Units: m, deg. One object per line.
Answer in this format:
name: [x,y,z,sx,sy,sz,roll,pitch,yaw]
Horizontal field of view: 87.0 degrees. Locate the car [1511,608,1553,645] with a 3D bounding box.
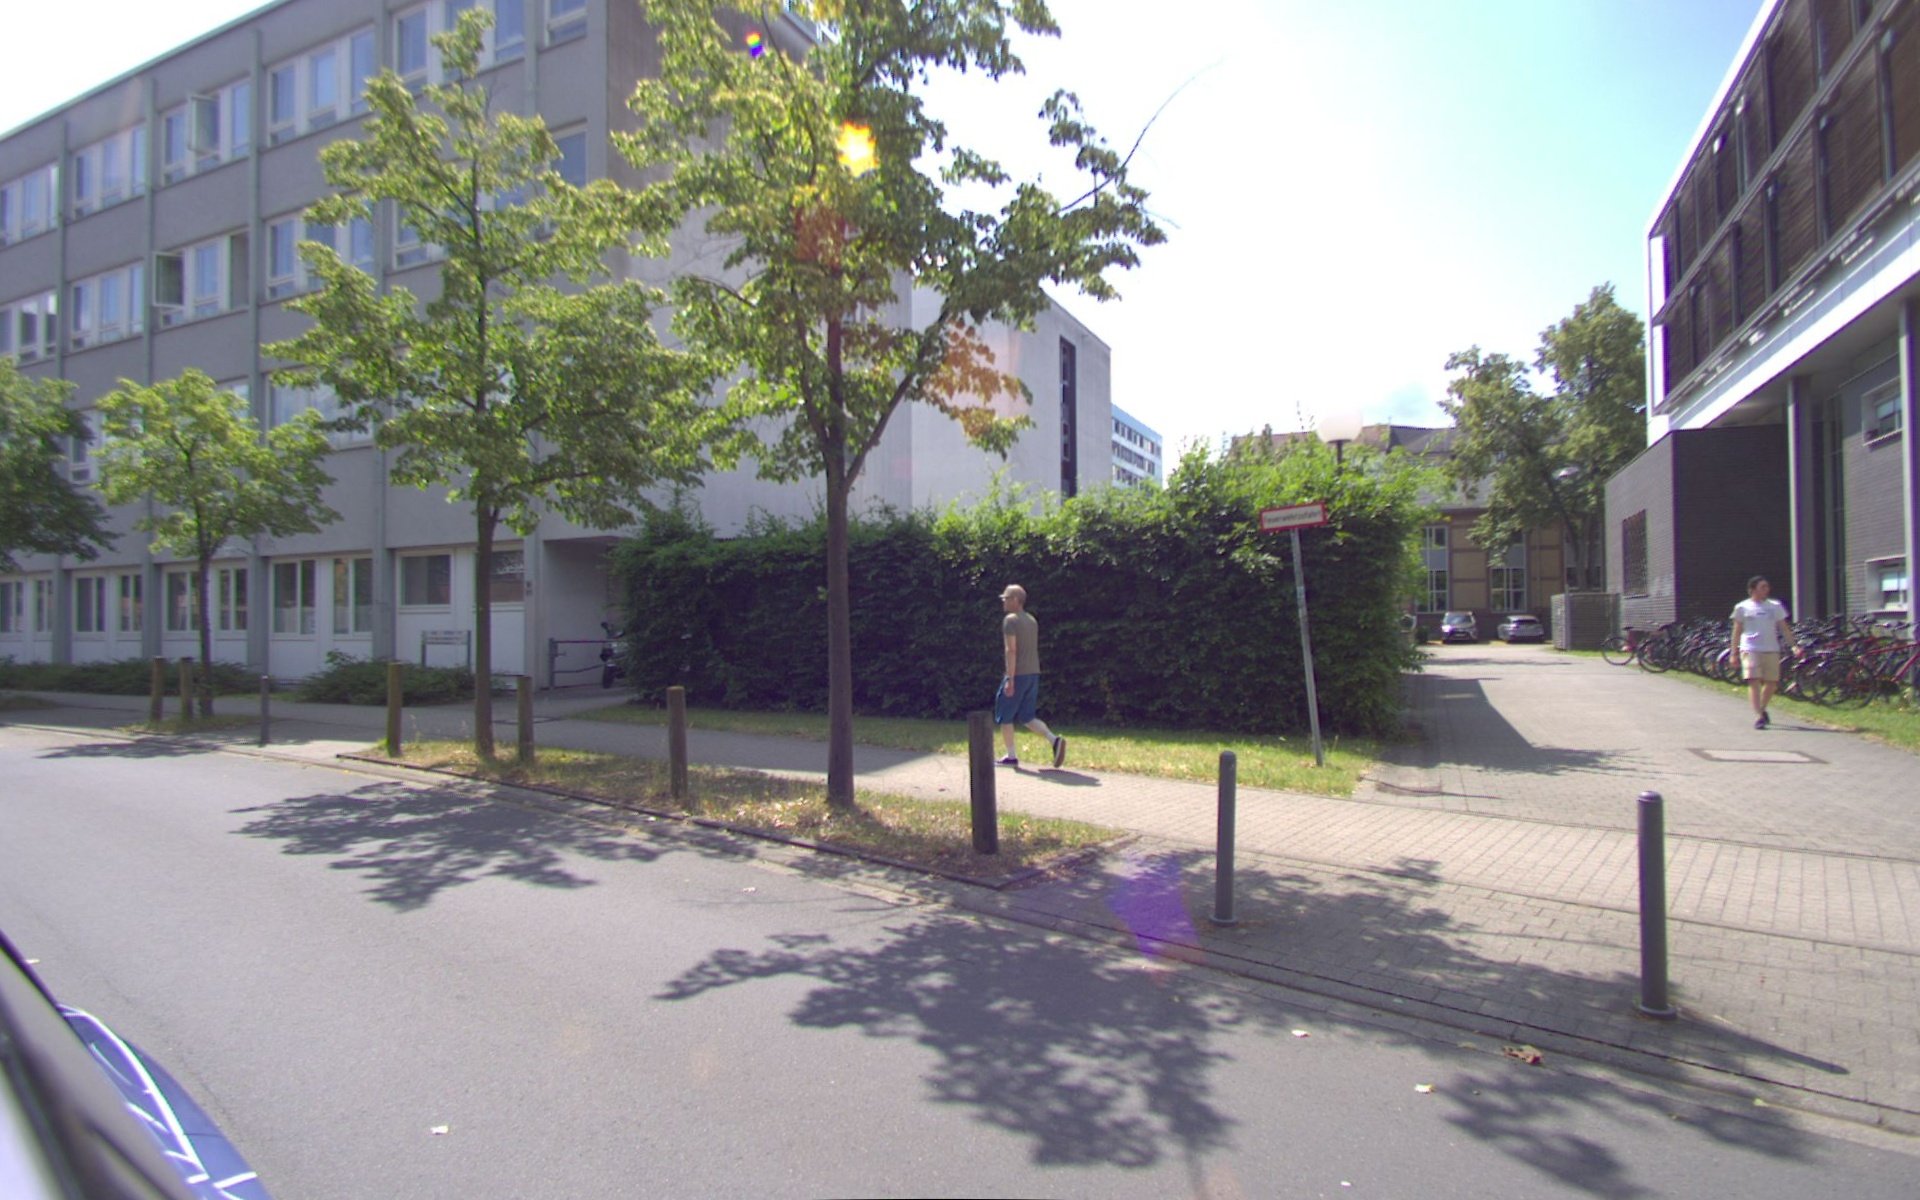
car: [30.508,1.391,54.069,1.861,1.788,3.961,-2,1,29]

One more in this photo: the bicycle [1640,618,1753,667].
bicycle: [17.329,0.999,23.867,2.038,1.131,0.577,-1,-2,24]

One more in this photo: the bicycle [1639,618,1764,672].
bicycle: [15.788,0.957,21.611,2.038,1.131,0.577,-1,-2,24]

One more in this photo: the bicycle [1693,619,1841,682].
bicycle: [14.977,0.933,18.847,2.038,1.131,0.577,-1,-2,24]

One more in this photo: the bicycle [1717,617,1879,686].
bicycle: [14.424,0.882,17.486,2.038,1.131,0.577,-1,-2,24]

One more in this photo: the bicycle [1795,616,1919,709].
bicycle: [12.219,0.801,13.110,2.038,1.171,0.577,-1,-2,24]

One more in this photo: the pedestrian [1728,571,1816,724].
pedestrian: [9.578,0.550,11.961,0.687,1.733,0.610,-2,-2,31]

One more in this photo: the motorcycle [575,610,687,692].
motorcycle: [-6.633,1.005,20.506,1.075,1.562,2.086,-1,-2,23]

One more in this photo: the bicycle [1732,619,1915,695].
bicycle: [13.313,0.871,15.682,2.038,1.131,0.577,-1,-2,24]

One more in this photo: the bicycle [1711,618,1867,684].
bicycle: [14.726,0.893,18.046,2.038,1.131,0.577,-1,-2,24]

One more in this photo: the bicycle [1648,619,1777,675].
bicycle: [15.588,0.967,21.026,2.038,1.131,0.577,-1,-2,24]

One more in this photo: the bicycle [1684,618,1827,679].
bicycle: [15.229,0.921,19.430,2.038,1.131,0.577,-1,-2,24]

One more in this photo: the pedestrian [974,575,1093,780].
pedestrian: [0.670,0.687,9.290,0.910,1.778,0.578,-2,-2,39]

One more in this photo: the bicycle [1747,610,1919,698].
bicycle: [13.107,0.795,15.085,2.038,1.252,0.577,-1,-2,24]

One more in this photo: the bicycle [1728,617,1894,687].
bicycle: [14.178,0.864,16.926,2.038,1.131,0.498,-1,-2,24]

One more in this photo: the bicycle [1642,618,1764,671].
bicycle: [16.187,0.969,22.110,2.038,1.131,0.577,-1,-2,24]

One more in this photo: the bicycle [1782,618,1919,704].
bicycle: [12.555,0.819,13.748,2.038,1.131,0.577,-1,-2,24]

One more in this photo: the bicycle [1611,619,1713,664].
bicycle: [17.899,1.056,25.846,2.038,1.131,0.577,-1,-2,24]

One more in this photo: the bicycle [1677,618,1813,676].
bicycle: [15.692,0.936,20.294,2.038,1.131,0.577,-1,-2,24]

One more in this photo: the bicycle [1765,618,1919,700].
bicycle: [12.889,0.834,14.478,2.038,1.131,0.577,-1,-2,24]

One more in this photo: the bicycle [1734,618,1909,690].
bicycle: [13.905,0.866,16.404,2.038,1.131,0.544,-1,-2,24]

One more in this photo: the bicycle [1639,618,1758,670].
bicycle: [16.515,0.979,22.696,2.038,1.131,0.577,-1,-2,24]

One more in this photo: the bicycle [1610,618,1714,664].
bicycle: [17.519,1.028,25.306,2.038,1.131,0.577,-1,-2,24]

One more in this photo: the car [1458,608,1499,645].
car: [28.333,1.436,55.224,1.861,1.788,3.961,-2,1,29]
